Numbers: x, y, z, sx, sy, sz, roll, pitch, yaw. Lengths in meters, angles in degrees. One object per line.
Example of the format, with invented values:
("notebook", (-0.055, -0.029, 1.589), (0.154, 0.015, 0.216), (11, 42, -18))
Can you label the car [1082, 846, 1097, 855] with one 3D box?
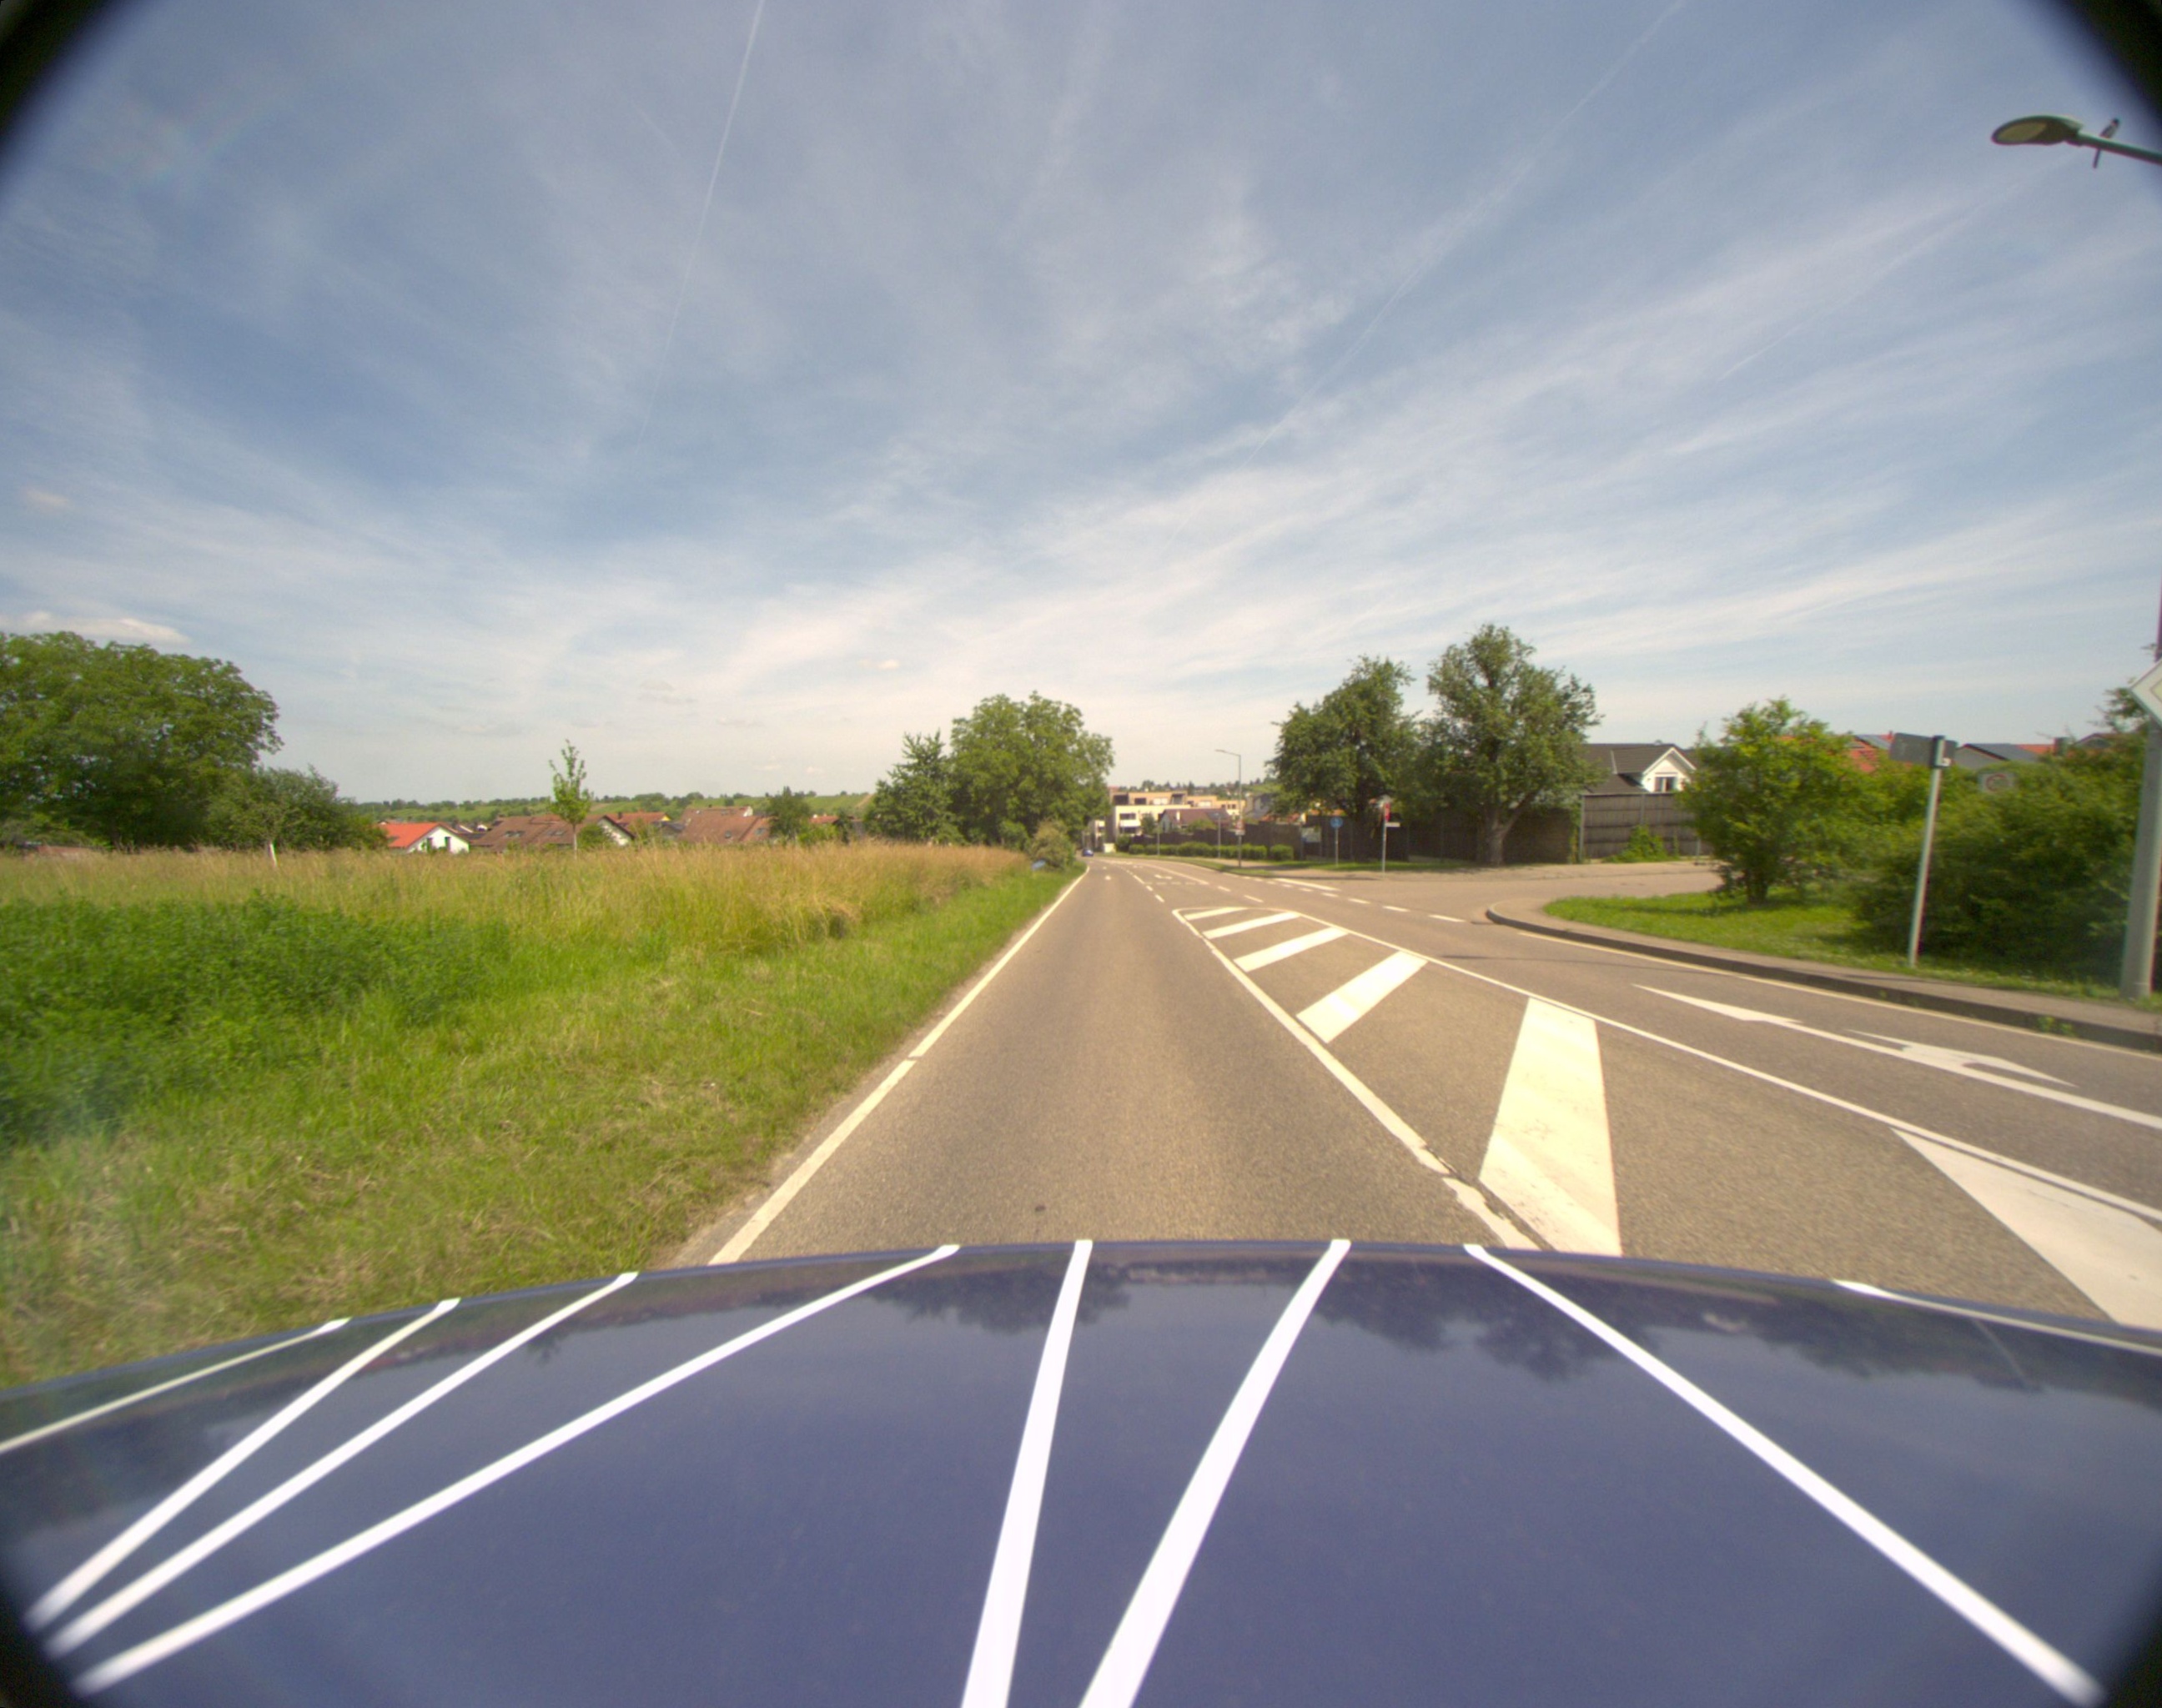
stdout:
("car", (1.416, -0.614, 130.624), (1.614, 1.483, 3.843), (-1, 0, -16))

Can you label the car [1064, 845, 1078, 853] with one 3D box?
("car", (-2.067, -0.981, 155.234), (1.831, 1.572, 3.994), (-1, 1, -15))
